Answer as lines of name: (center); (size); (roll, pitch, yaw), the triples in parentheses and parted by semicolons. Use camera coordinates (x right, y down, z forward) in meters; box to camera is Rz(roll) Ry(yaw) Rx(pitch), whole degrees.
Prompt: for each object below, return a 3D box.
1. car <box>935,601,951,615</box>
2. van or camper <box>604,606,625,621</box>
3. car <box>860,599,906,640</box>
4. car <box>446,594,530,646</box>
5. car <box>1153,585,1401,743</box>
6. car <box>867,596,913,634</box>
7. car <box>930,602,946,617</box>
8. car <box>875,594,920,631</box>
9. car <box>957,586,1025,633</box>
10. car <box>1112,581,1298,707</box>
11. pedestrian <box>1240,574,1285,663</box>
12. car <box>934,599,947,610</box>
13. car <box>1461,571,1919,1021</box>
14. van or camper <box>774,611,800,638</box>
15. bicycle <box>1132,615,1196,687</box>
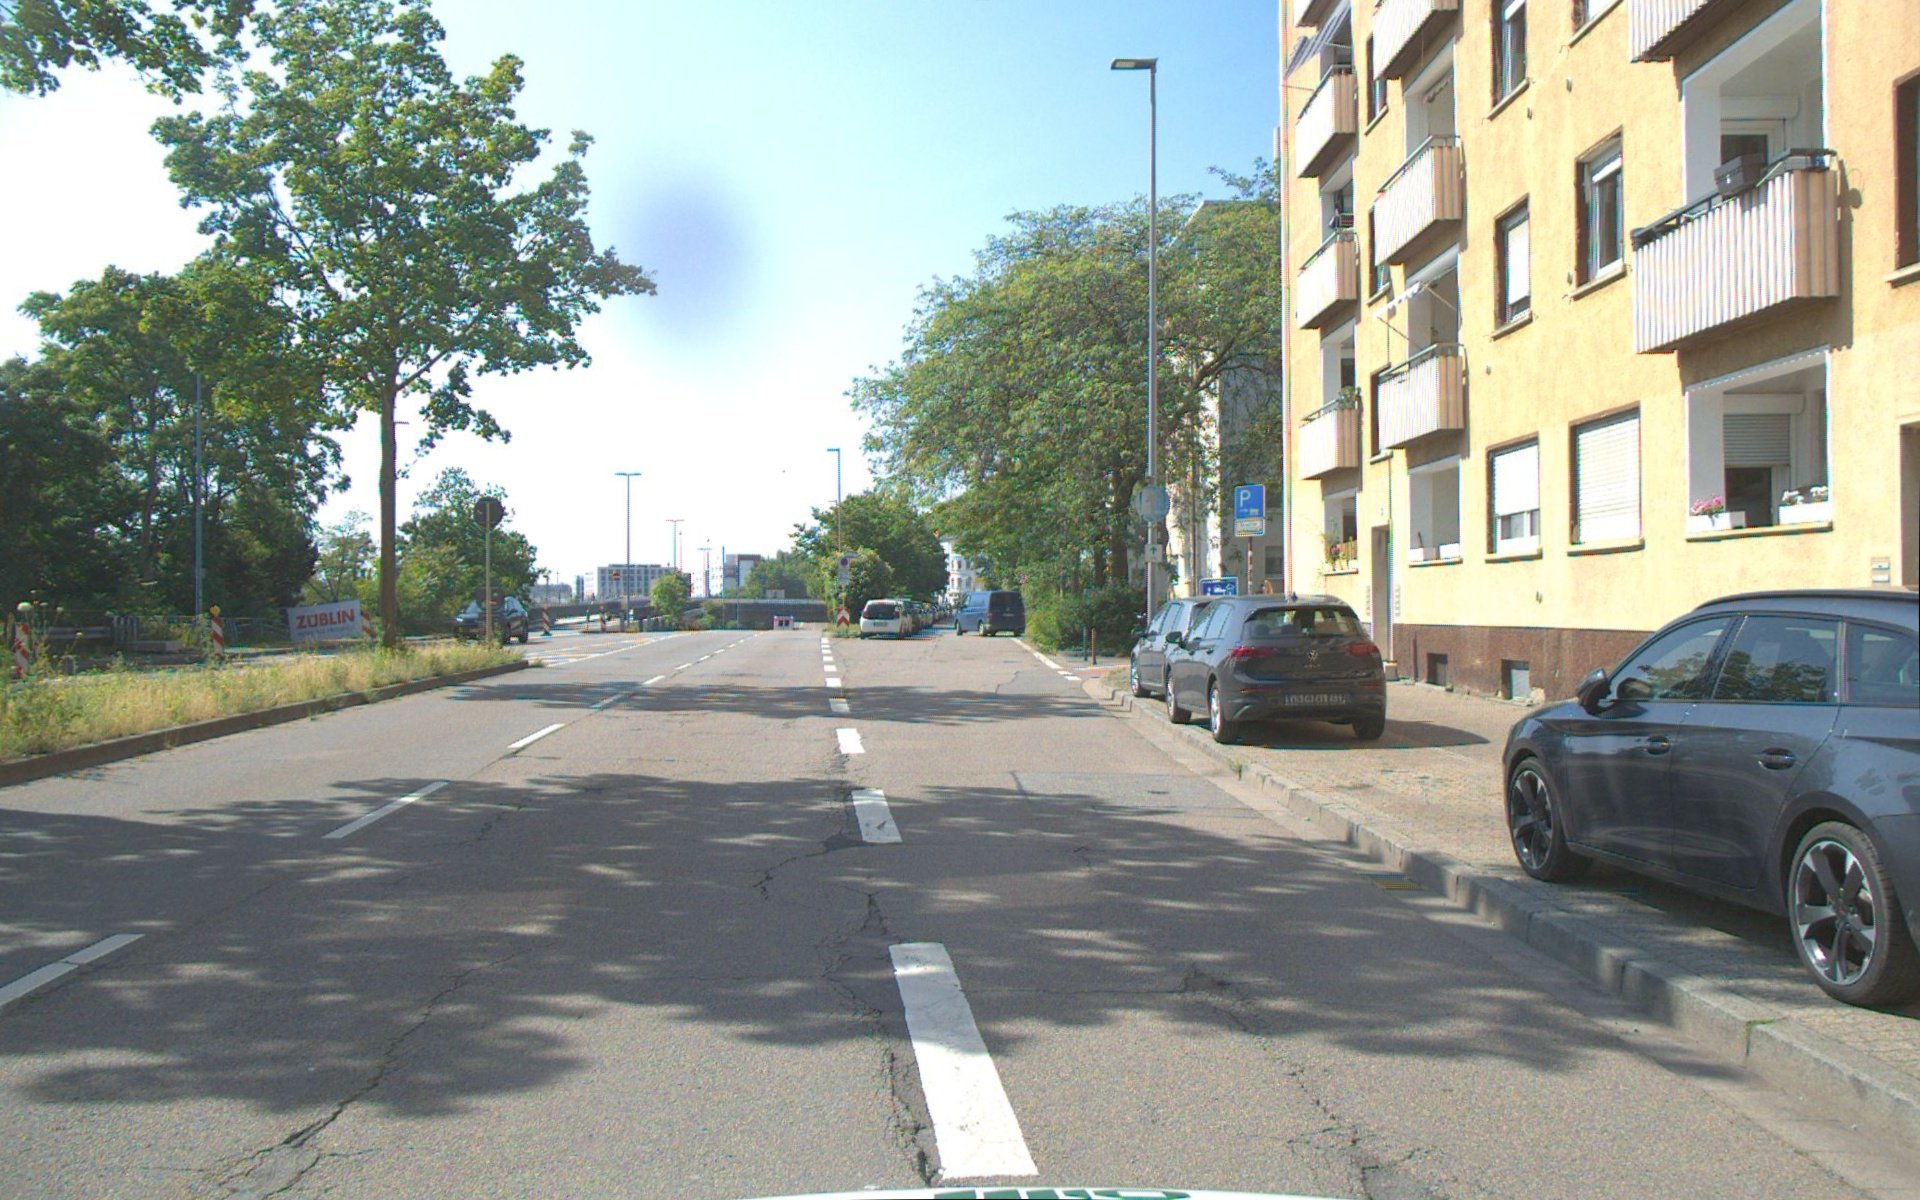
car: (-2.206, 1.042, 212.274); (1.953, 1.686, 3.999); (-1, 0, -1)
van or camper: (-31.850, 1.224, 152.518); (1.438, 1.373, 4.624); (-1, 0, -6)
car: (-3.000, 0.723, 64.568); (1.586, 1.532, 3.461); (-1, 0, 0)
car: (-16.989, 0.700, 59.736); (1.954, 1.764, 4.726); (-1, 0, -4)
car: (3.323, 0.608, 18.153); (1.677, 1.487, 4.253); (-1, 0, -3)
car: (-2.899, 0.594, 69.091); (1.686, 1.532, 4.132); (-1, 0, 0)
car: (-2.670, 1.159, 202.470); (1.953, 1.686, 3.999); (-1, 0, -1)
car: (-2.844, 0.543, 74.483); (1.737, 1.607, 4.181); (-1, 0, -6)
car: (1.314, 0.385, 72.407); (1.852, 1.955, 3.991); (1, 0, -16)
car: (3.327, 0.544, 23.190); (1.670, 1.540, 4.088); (-2, 1, -4)
pedestrian: (5.748, 0.338, 31.476); (0.642, 1.637, 0.824); (-3, 0, 0)
car: (-3.007, 0.688, 255.128); (1.953, 1.686, 3.999); (-1, 0, -1)
car: (3.890, 0.618, 7.124); (1.765, 1.463, 4.586); (-2, 0, -4)
van or camper: (-18.840, 2.645, 180.315); (2.249, 2.838, 5.570); (-1, 0, -1)
bicycle: (3.403, 0.833, 27.713); (0.689, 1.143, 1.743); (-1, 0, -6)
